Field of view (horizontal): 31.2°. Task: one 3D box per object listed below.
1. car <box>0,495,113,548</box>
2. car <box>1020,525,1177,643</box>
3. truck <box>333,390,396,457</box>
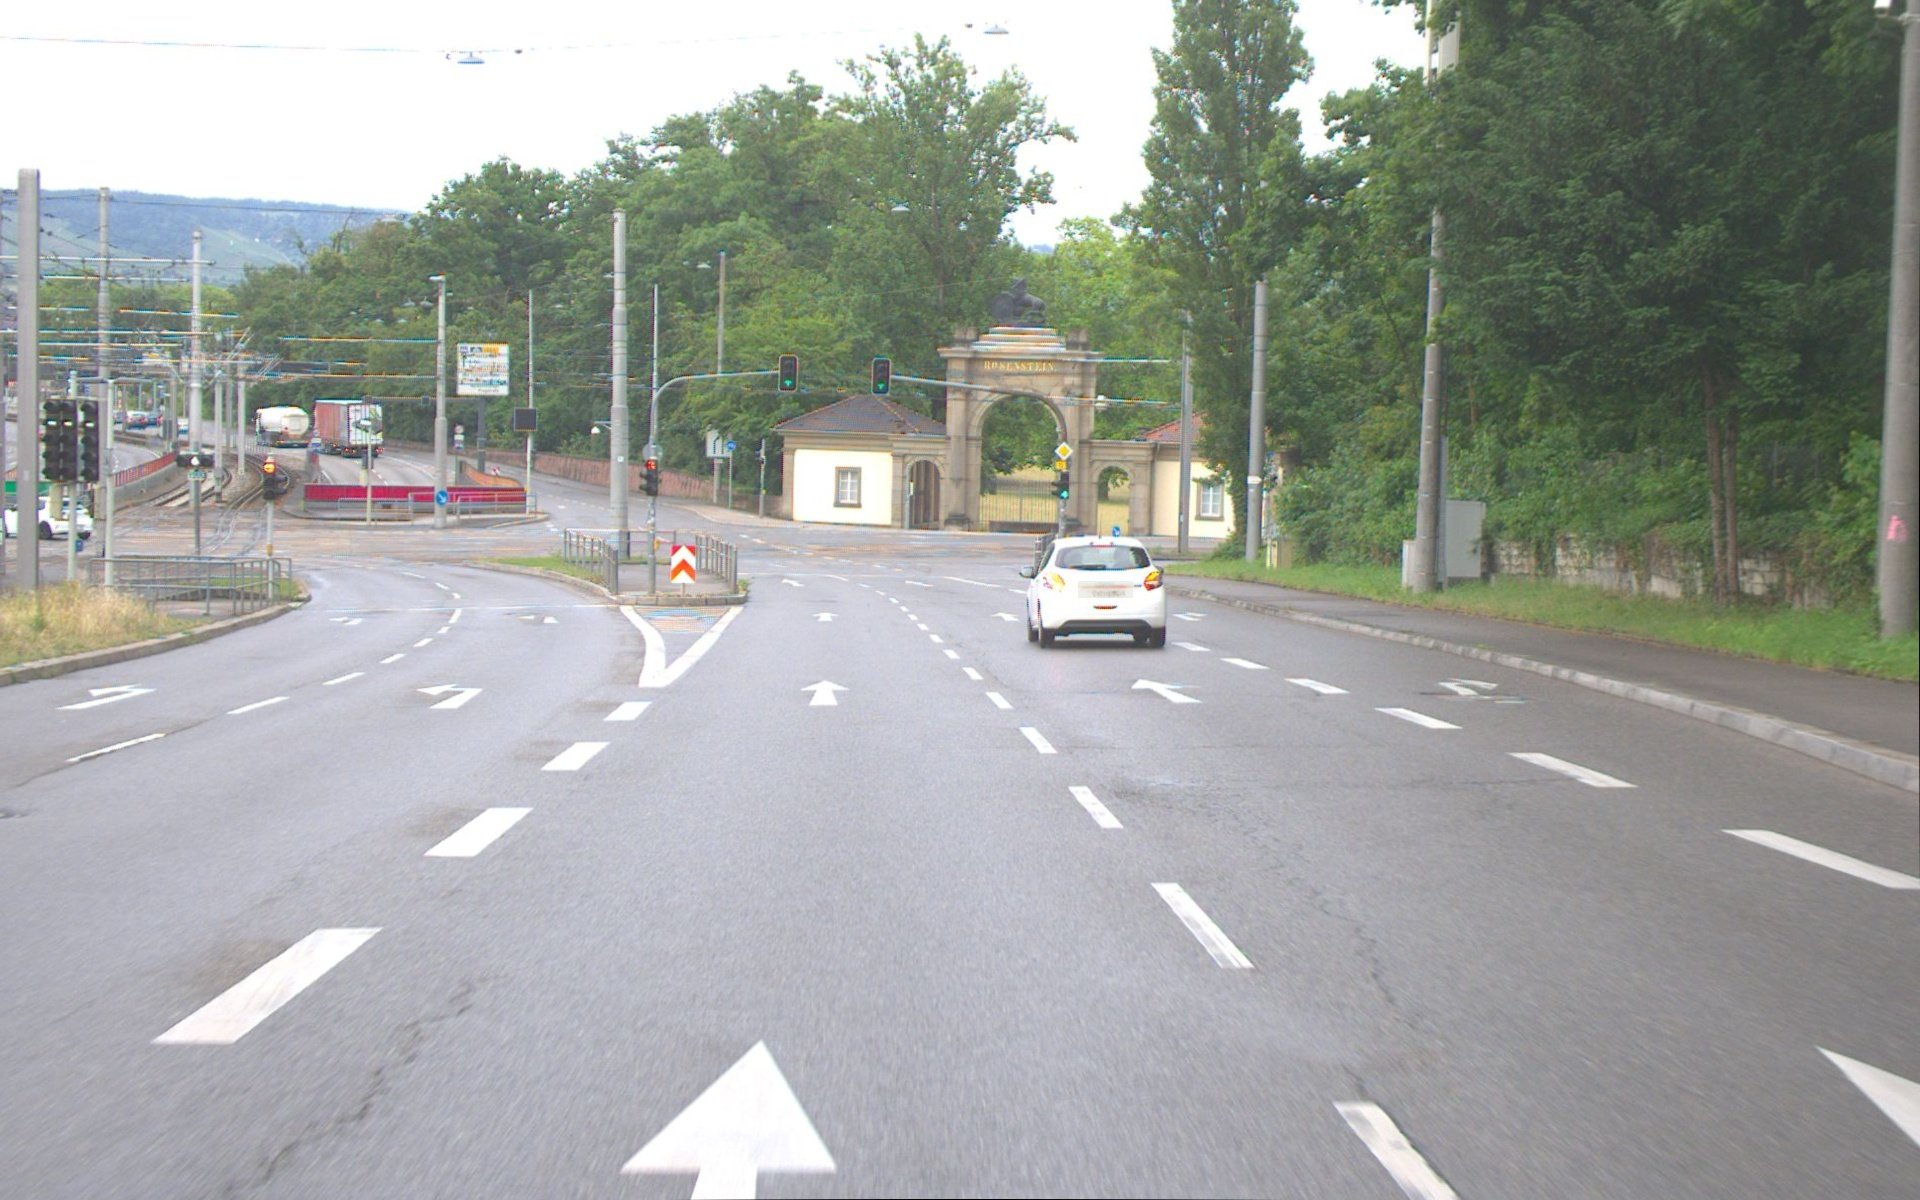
[{"bbox_3d":[-30.790,-2.665,116.542,3.995,1.600,1.825,4,3,35],"label":"car"},{"bbox_3d":[1.828,-0.238,46.487,1.868,1.505,3.900,-1,1,-1],"label":"car"},{"bbox_3d":[-43.634,-12.889,251.617,3.413,4.555,11.291,3,1,-14],"label":"truck"}]
